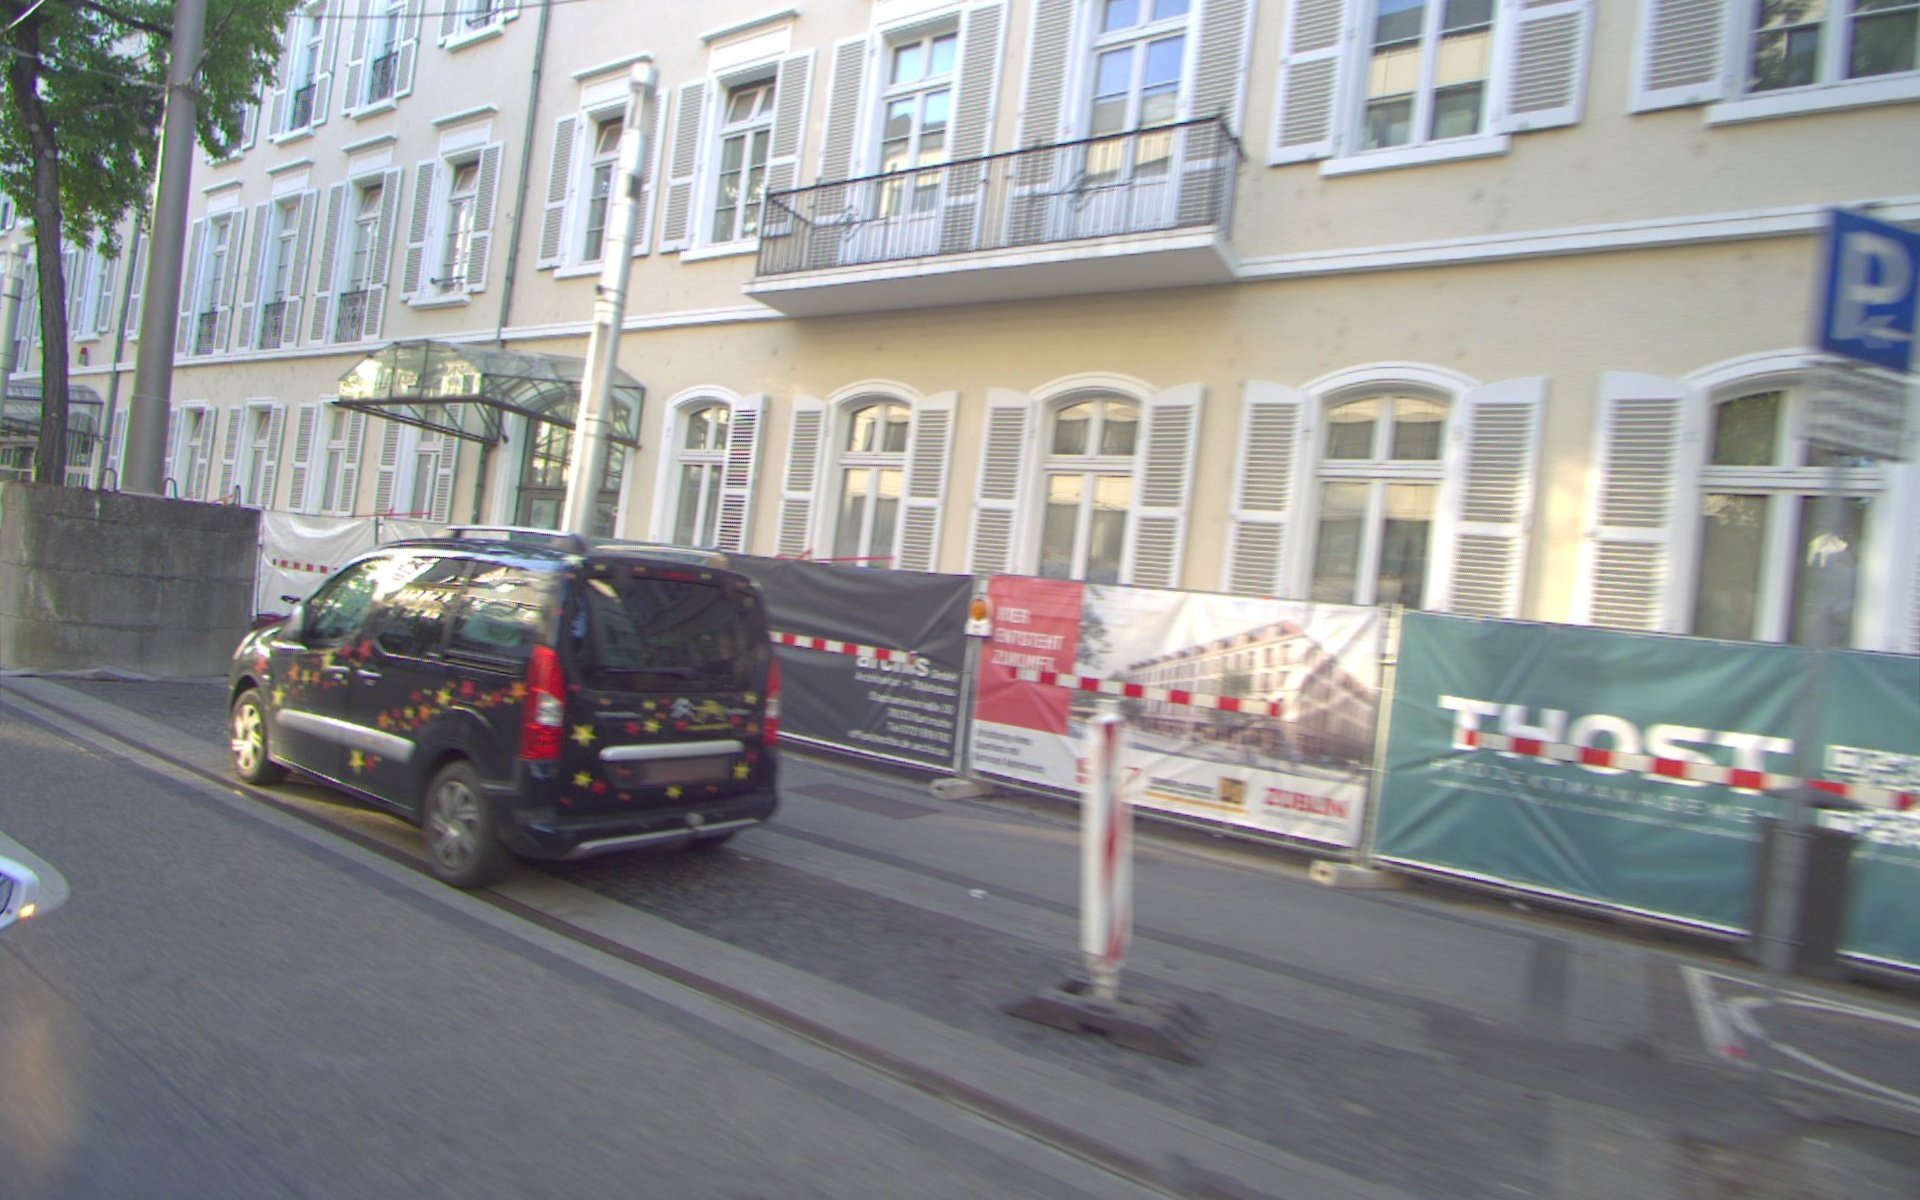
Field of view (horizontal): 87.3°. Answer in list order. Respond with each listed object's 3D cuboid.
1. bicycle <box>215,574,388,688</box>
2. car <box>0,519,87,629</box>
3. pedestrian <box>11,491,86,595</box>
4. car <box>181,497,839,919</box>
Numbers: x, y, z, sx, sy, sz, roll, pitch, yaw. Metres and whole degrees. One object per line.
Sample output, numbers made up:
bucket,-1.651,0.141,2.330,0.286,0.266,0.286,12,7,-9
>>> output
bicycle,-7.634,0.345,11.679,1.642,1.084,0.656,7,1,13
car,-14.153,-0.520,14.040,4.259,1.327,1.795,6,0,33
pedestrian,-17.993,-1.129,19.863,1.036,1.910,0.713,7,0,33
car,-3.098,0.432,6.587,4.249,1.815,1.952,6,0,36
